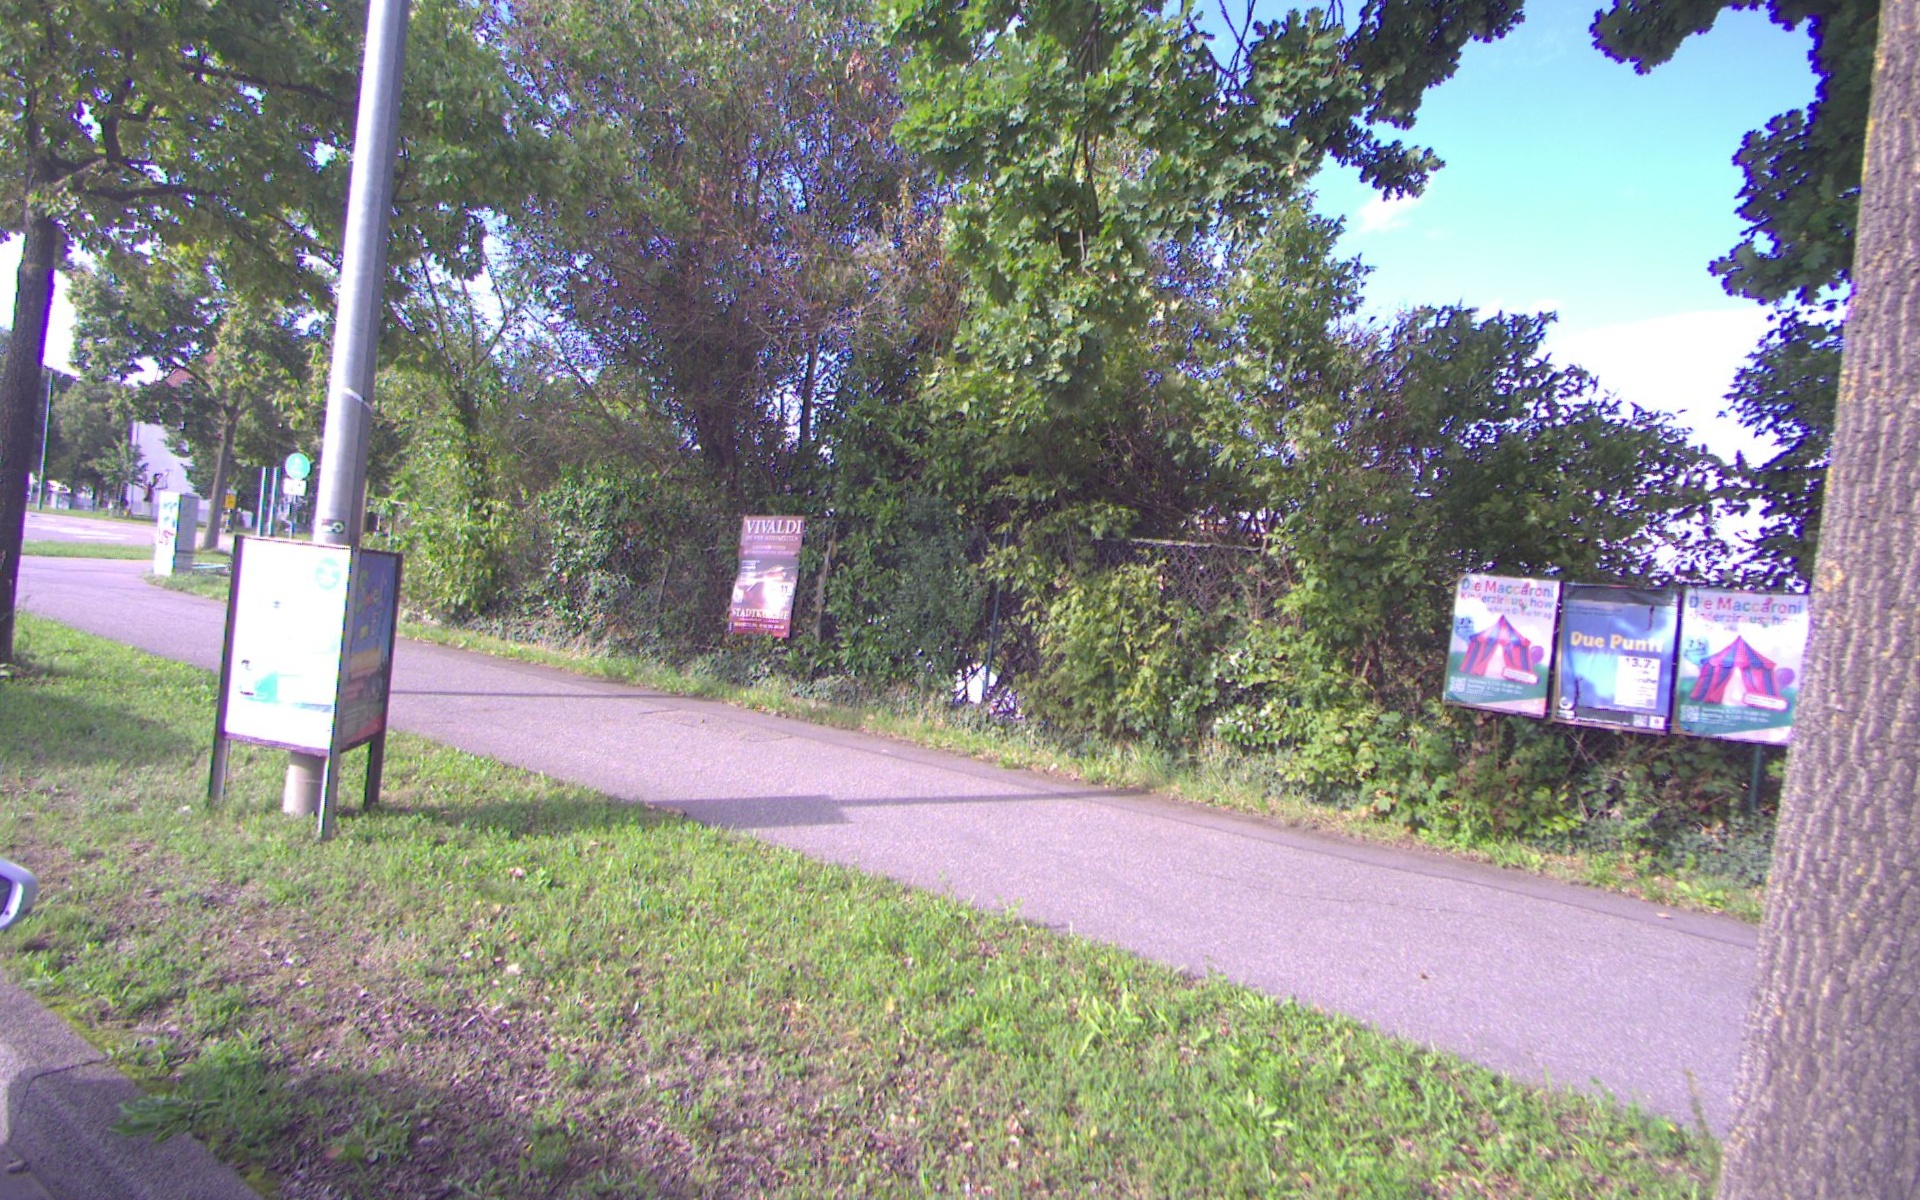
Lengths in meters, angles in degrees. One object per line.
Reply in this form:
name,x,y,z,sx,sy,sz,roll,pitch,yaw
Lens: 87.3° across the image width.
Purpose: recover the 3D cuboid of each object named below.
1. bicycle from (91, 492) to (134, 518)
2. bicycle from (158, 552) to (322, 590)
bicycle,-62.871,-7.016,74.640,2.247,1.548,0.896,7,-1,2
bicycle,-13.958,-0.563,19.518,2.529,0.390,1.411,7,0,21
